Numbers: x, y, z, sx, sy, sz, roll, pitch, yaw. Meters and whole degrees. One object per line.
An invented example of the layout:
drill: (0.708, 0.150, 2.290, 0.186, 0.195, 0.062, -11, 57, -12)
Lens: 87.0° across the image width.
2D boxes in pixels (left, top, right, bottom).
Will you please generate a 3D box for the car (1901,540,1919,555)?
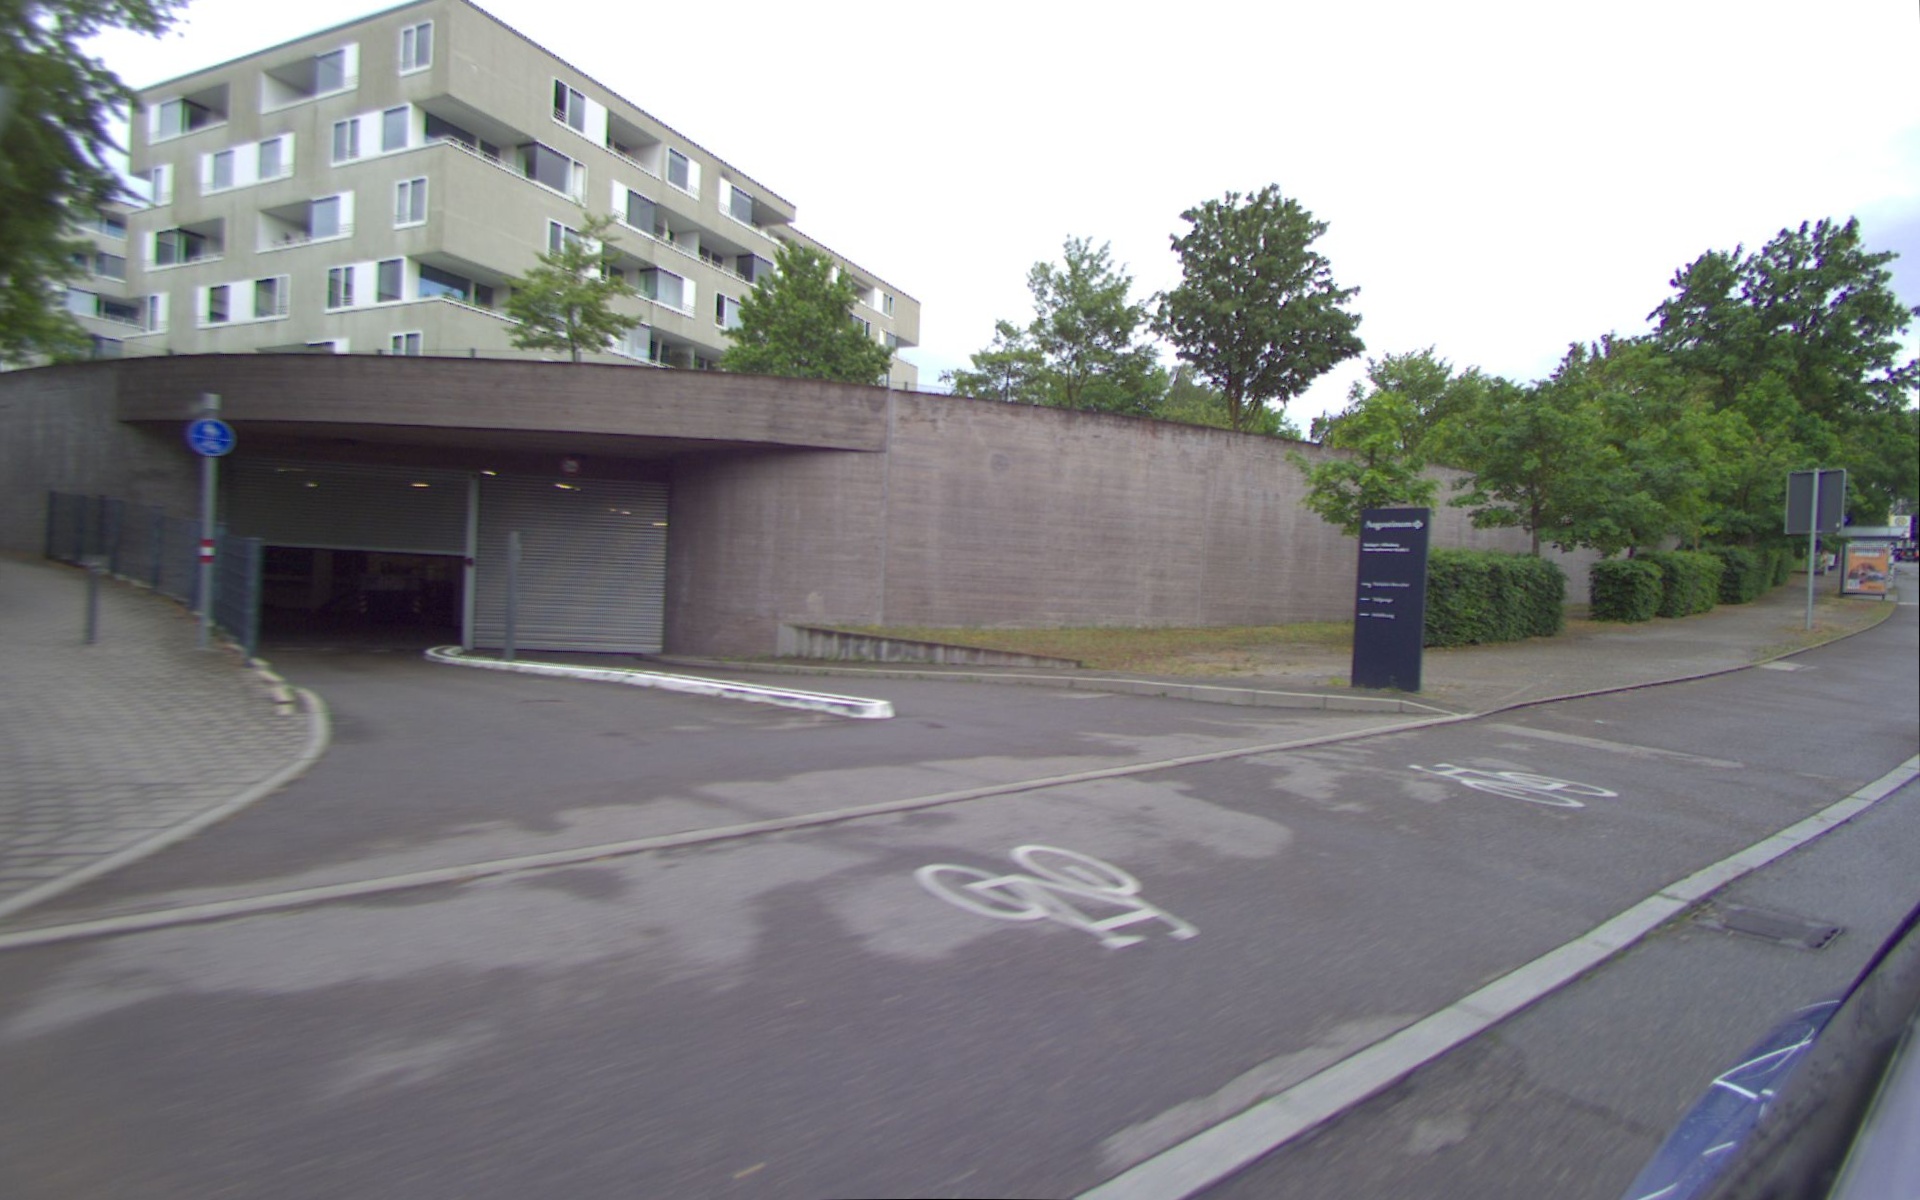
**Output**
car: (121.695, -6.666, 128.905, 1.952, 1.861, 4.399, 2, 4, 33)

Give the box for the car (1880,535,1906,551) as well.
car: (133.655, -8.134, 145.062, 1.910, 2.039, 4.337, 0, 1, 32)
